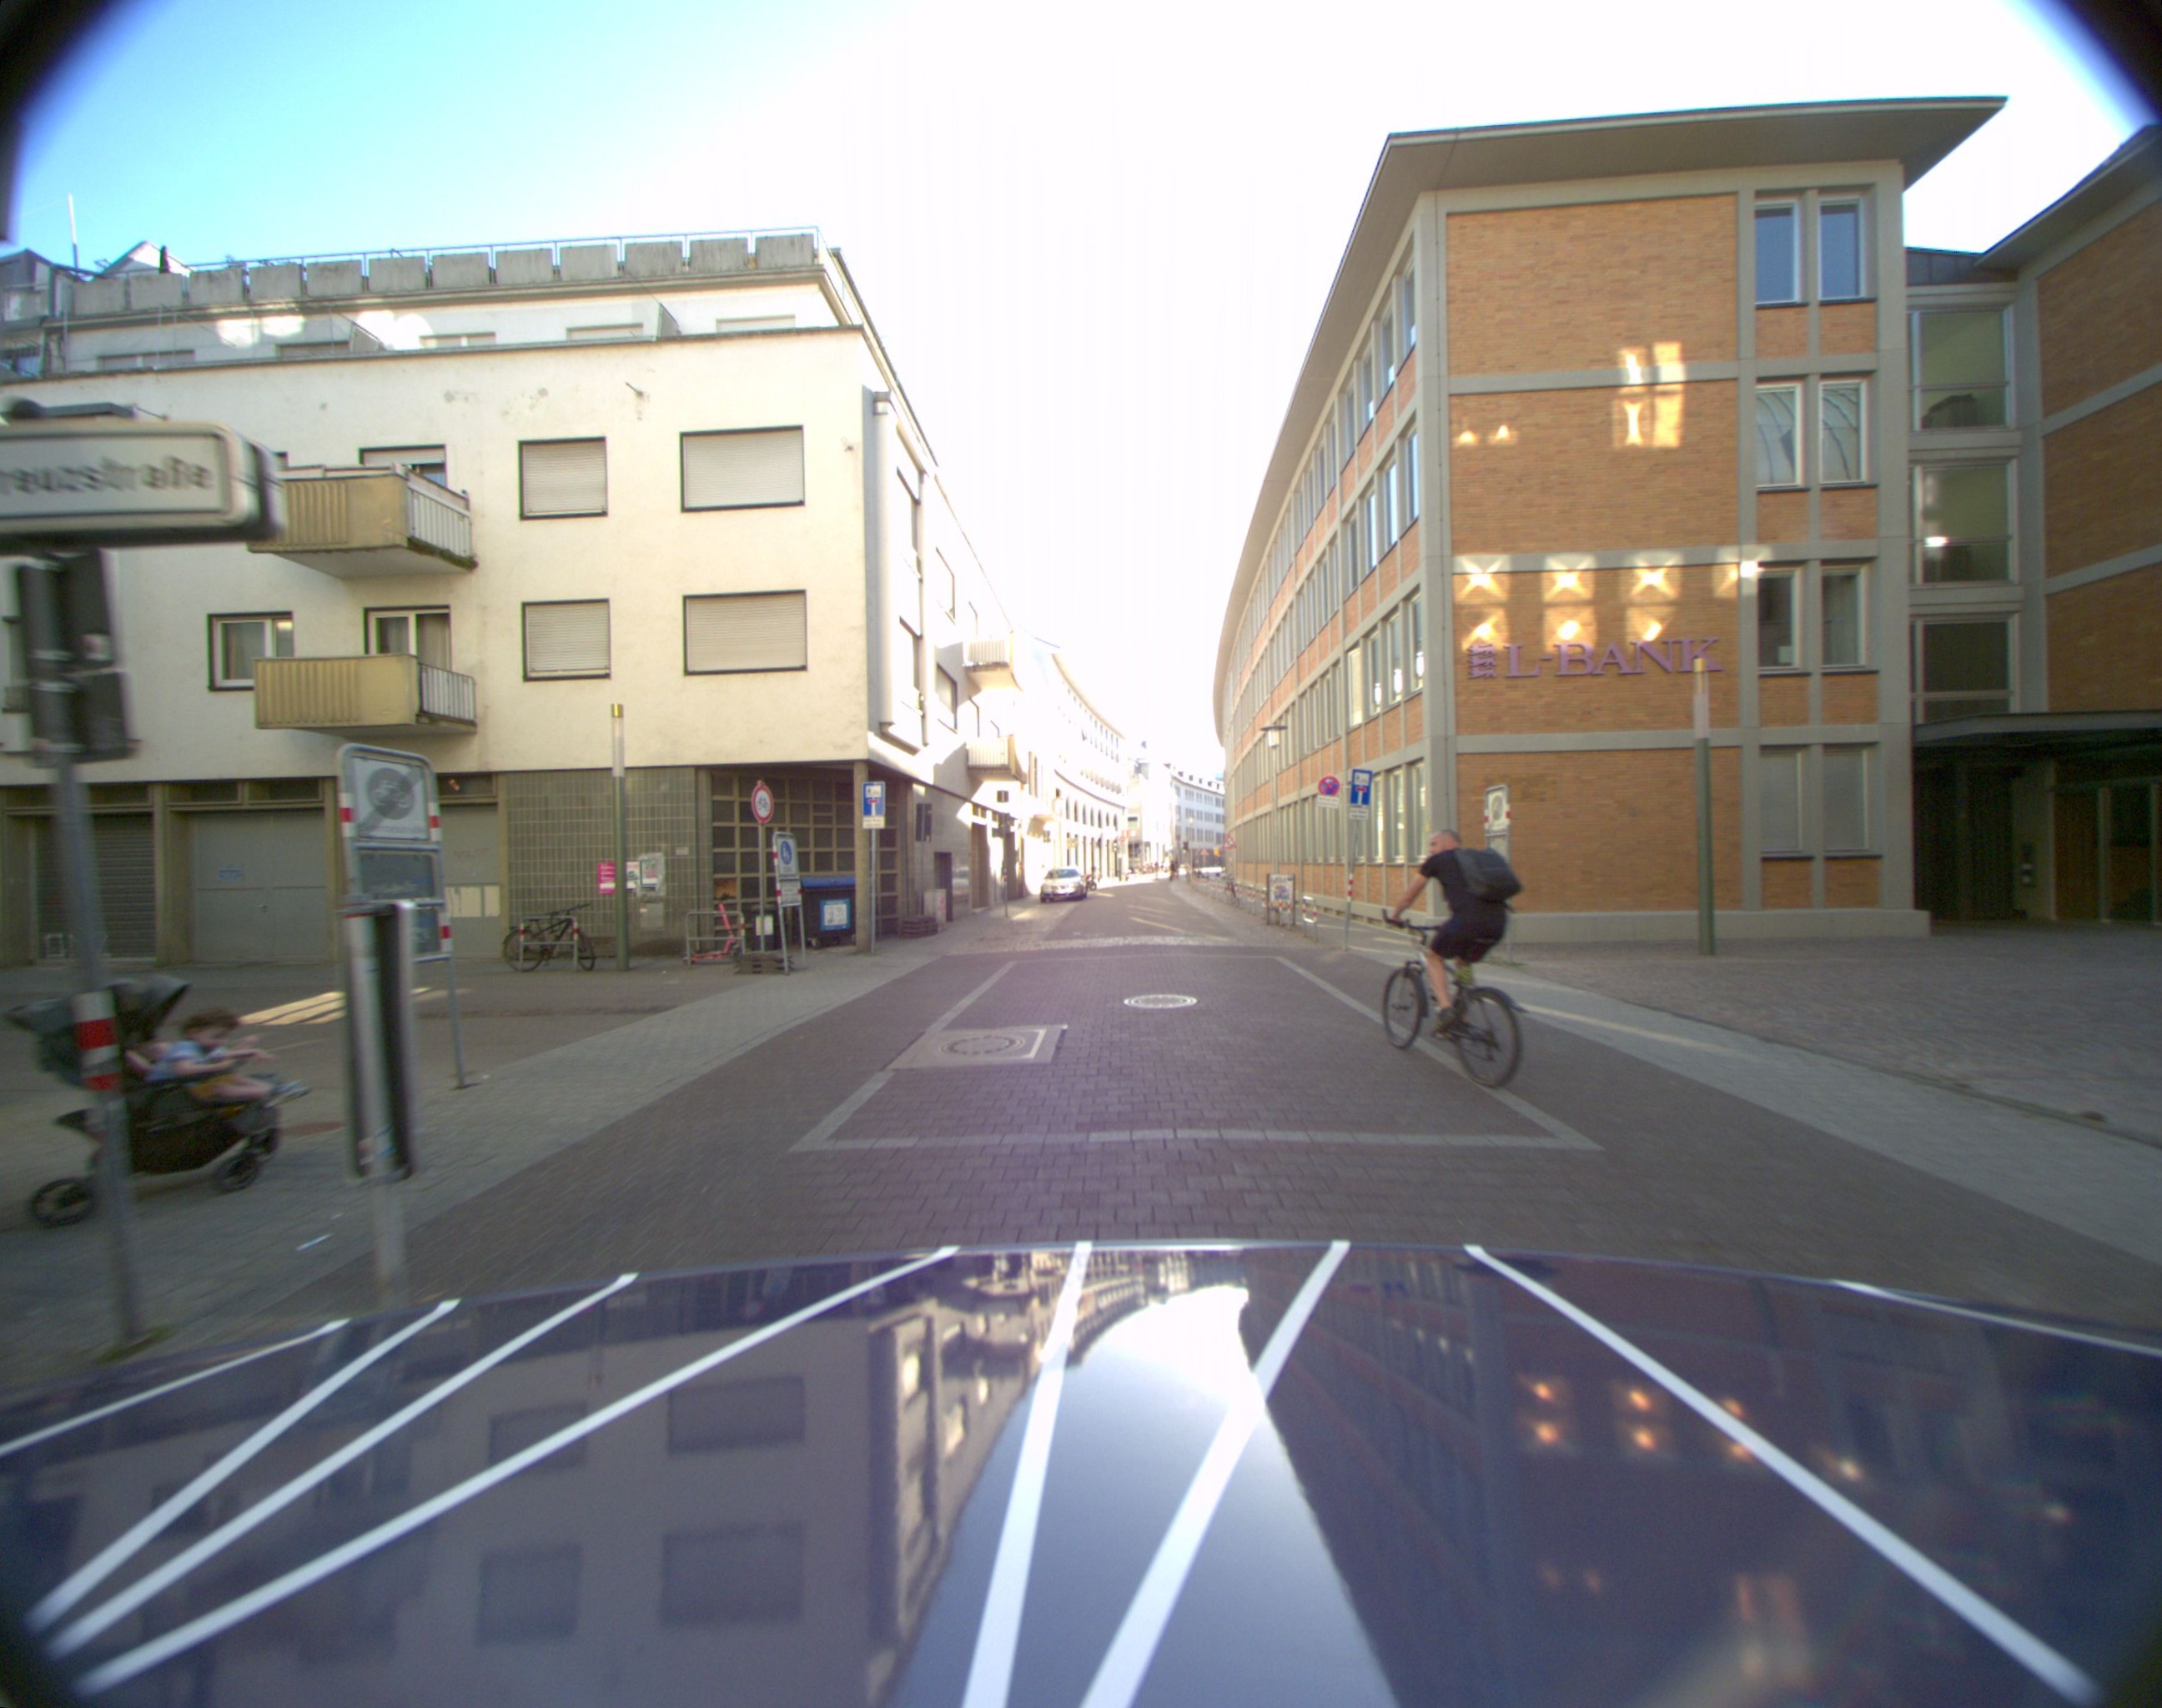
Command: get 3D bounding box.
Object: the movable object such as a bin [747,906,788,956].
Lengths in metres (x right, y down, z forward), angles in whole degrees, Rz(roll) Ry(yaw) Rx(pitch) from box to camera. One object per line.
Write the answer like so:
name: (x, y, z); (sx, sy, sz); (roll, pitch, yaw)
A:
movable object such as a bin: (-6.185, 1.505, 14.990); (0.598, 0.921, 0.605); (-1, 0, -38)

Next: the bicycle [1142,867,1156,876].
bicycle: (8.320, 2.089, 92.568); (1.620, 1.033, 0.532); (-1, 0, -13)

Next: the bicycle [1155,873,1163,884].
bicycle: (6.023, 1.885, 58.684); (0.524, 0.843, 1.491); (-1, 0, 9)

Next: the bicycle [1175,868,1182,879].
bicycle: (9.365, 1.871, 72.845); (0.576, 0.955, 1.721); (-1, 0, 10)

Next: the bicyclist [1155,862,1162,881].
bicyclist: (6.017, 1.352, 58.697); (0.472, 1.494, 0.796); (-1, 0, 9)

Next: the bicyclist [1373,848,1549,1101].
bicyclist: (2.649, 0.787, 5.400); (0.664, 1.633, 0.925); (2, 1, -4)

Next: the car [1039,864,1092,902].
car: (-0.600, 1.202, 32.737); (1.846, 1.453, 4.000); (-2, 0, 4)

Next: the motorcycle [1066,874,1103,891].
motorcycle: (0.209, 1.656, 43.836); (1.995, 0.950, 0.646); (-1, 0, 17)

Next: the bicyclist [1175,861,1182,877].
bicyclist: (9.360, 1.457, 72.866); (0.576, 1.524, 0.817); (-1, 0, 10)

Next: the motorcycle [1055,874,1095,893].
motorcycle: (-0.326, 1.555, 39.954); (1.995, 0.950, 0.646); (-1, 0, 17)

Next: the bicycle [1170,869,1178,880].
bicycle: (8.302, 1.819, 67.728); (0.576, 0.955, 1.721); (-1, 0, 10)

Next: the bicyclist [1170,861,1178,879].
bicyclist: (8.298, 1.448, 67.792); (0.580, 1.565, 0.692); (-1, 0, 9)

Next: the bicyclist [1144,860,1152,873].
bicyclist: (8.172, 1.559, 92.555); (0.718, 1.549, 0.489); (-1, 0, -17)

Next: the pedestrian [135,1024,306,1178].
pedestrian: (-4.502, 1.273, 4.001); (0.510, 0.629, 0.331); (-1, 0, -32)

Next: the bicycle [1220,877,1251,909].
bicycle: (5.482, 1.353, 27.015); (0.627, 1.047, 1.822); (-1, 0, -3)

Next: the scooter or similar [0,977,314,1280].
scooter or similar: (-4.792, 1.322, 3.990); (1.047, 1.169, 0.869); (1, -2, -45)

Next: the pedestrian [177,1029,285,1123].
pedestrian: (-4.749, 1.231, 4.260); (0.313, 0.396, 0.331); (-1, 0, -31)

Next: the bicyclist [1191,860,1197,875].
bicyclist: (12.391, 1.494, 83.103); (0.580, 1.565, 0.692); (-1, 0, 11)

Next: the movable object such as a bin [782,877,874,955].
movable object such as a bin: (-5.144, 1.213, 15.447); (1.437, 1.454, 1.126); (-1, 0, -38)

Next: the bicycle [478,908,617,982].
bicycle: (-8.913, 1.518, 12.722); (1.891, 1.120, 0.682); (-2, 0, 7)

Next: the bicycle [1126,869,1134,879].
bicycle: (4.968, 2.042, 76.779); (0.576, 0.955, 1.721); (-1, 0, 10)

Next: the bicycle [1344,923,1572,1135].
bicycle: (2.622, 1.158, 5.544); (0.653, 1.125, 1.735); (3, 0, -4)

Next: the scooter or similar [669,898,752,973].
scooter or similar: (-6.376, 1.395, 13.100); (1.162, 1.216, 0.498); (-1, 0, 1)

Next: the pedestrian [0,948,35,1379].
pedestrian: (-4.176, 1.111, 2.629); (0.573, 1.532, 0.441); (1, 0, 11)
